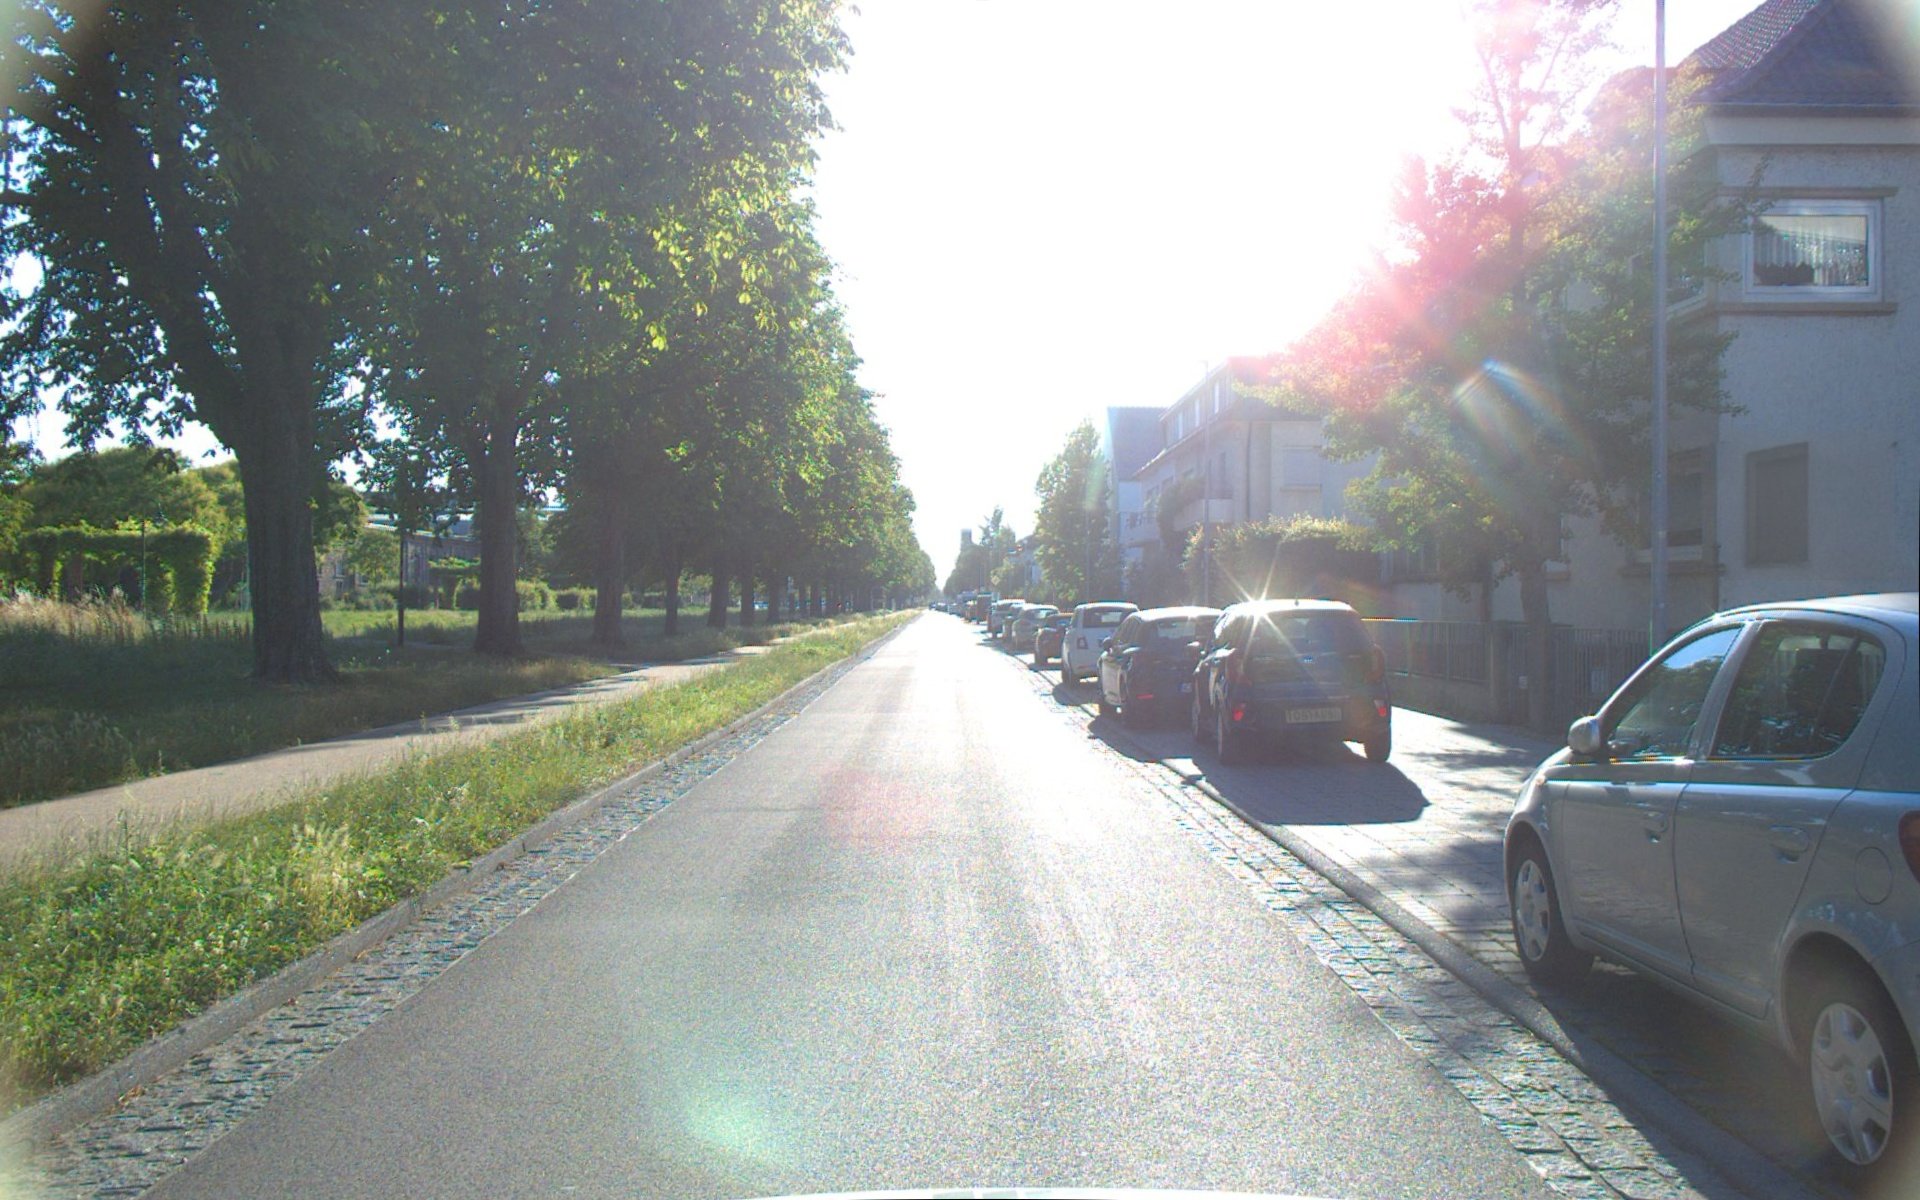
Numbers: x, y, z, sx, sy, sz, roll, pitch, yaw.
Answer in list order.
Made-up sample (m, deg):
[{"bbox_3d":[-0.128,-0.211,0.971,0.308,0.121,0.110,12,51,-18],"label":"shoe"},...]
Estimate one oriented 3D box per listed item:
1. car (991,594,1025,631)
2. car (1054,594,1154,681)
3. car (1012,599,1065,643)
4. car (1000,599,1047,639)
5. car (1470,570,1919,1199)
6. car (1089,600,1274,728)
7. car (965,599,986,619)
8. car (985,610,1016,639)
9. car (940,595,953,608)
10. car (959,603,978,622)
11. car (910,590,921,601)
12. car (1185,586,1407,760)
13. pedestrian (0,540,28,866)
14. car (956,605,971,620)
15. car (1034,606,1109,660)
[{"bbox_3d":[2.123,0.559,73.574,1.467,1.594,3.266,0,0,0],"label":"car"},{"bbox_3d":[2.660,0.673,31.140,1.560,1.536,3.591,0,0,0],"label":"car"},{"bbox_3d":[2.591,0.688,54.961,1.618,1.421,3.266,0,0,0],"label":"car"},{"bbox_3d":[2.309,0.692,60.798,1.618,1.421,3.266,0,0,0],"label":"car"},{"bbox_3d":[3.062,0.670,5.474,1.594,1.531,3.633,-2,0,0],"label":"car"},{"bbox_3d":[2.792,0.784,21.691,1.701,1.474,4.195,-1,-1,-2],"label":"car"},{"bbox_3d":[1.271,0.715,135.221,1.618,1.568,3.266,1,-1,0],"label":"car"},{"bbox_3d":[2.085,1.277,86.651,1.561,1.459,3.266,0,0,0],"label":"car"},{"bbox_3d":[-1.779,0.186,218.514,1.618,1.568,3.266,1,-1,-1],"label":"car"},{"bbox_3d":[0.781,1.122,147.800,1.618,1.568,3.266,1,-1,0],"label":"car"},{"bbox_3d":[-6.587,-0.655,244.893,1.618,1.568,3.266,1,-1,-1],"label":"car"},{"bbox_3d":[3.247,0.673,16.631,1.623,1.520,3.717,-1,-1,3],"label":"car"},{"bbox_3d":[-5.232,0.517,8.083,0.767,1.643,0.952,0,0,3],"label":"pedestrian"},{"bbox_3d":[0.380,1.305,179.469,1.618,1.568,3.266,1,-1,0],"label":"car"},{"bbox_3d":[2.722,0.793,41.115,1.658,1.270,3.497,0,0,0],"label":"car"}]
